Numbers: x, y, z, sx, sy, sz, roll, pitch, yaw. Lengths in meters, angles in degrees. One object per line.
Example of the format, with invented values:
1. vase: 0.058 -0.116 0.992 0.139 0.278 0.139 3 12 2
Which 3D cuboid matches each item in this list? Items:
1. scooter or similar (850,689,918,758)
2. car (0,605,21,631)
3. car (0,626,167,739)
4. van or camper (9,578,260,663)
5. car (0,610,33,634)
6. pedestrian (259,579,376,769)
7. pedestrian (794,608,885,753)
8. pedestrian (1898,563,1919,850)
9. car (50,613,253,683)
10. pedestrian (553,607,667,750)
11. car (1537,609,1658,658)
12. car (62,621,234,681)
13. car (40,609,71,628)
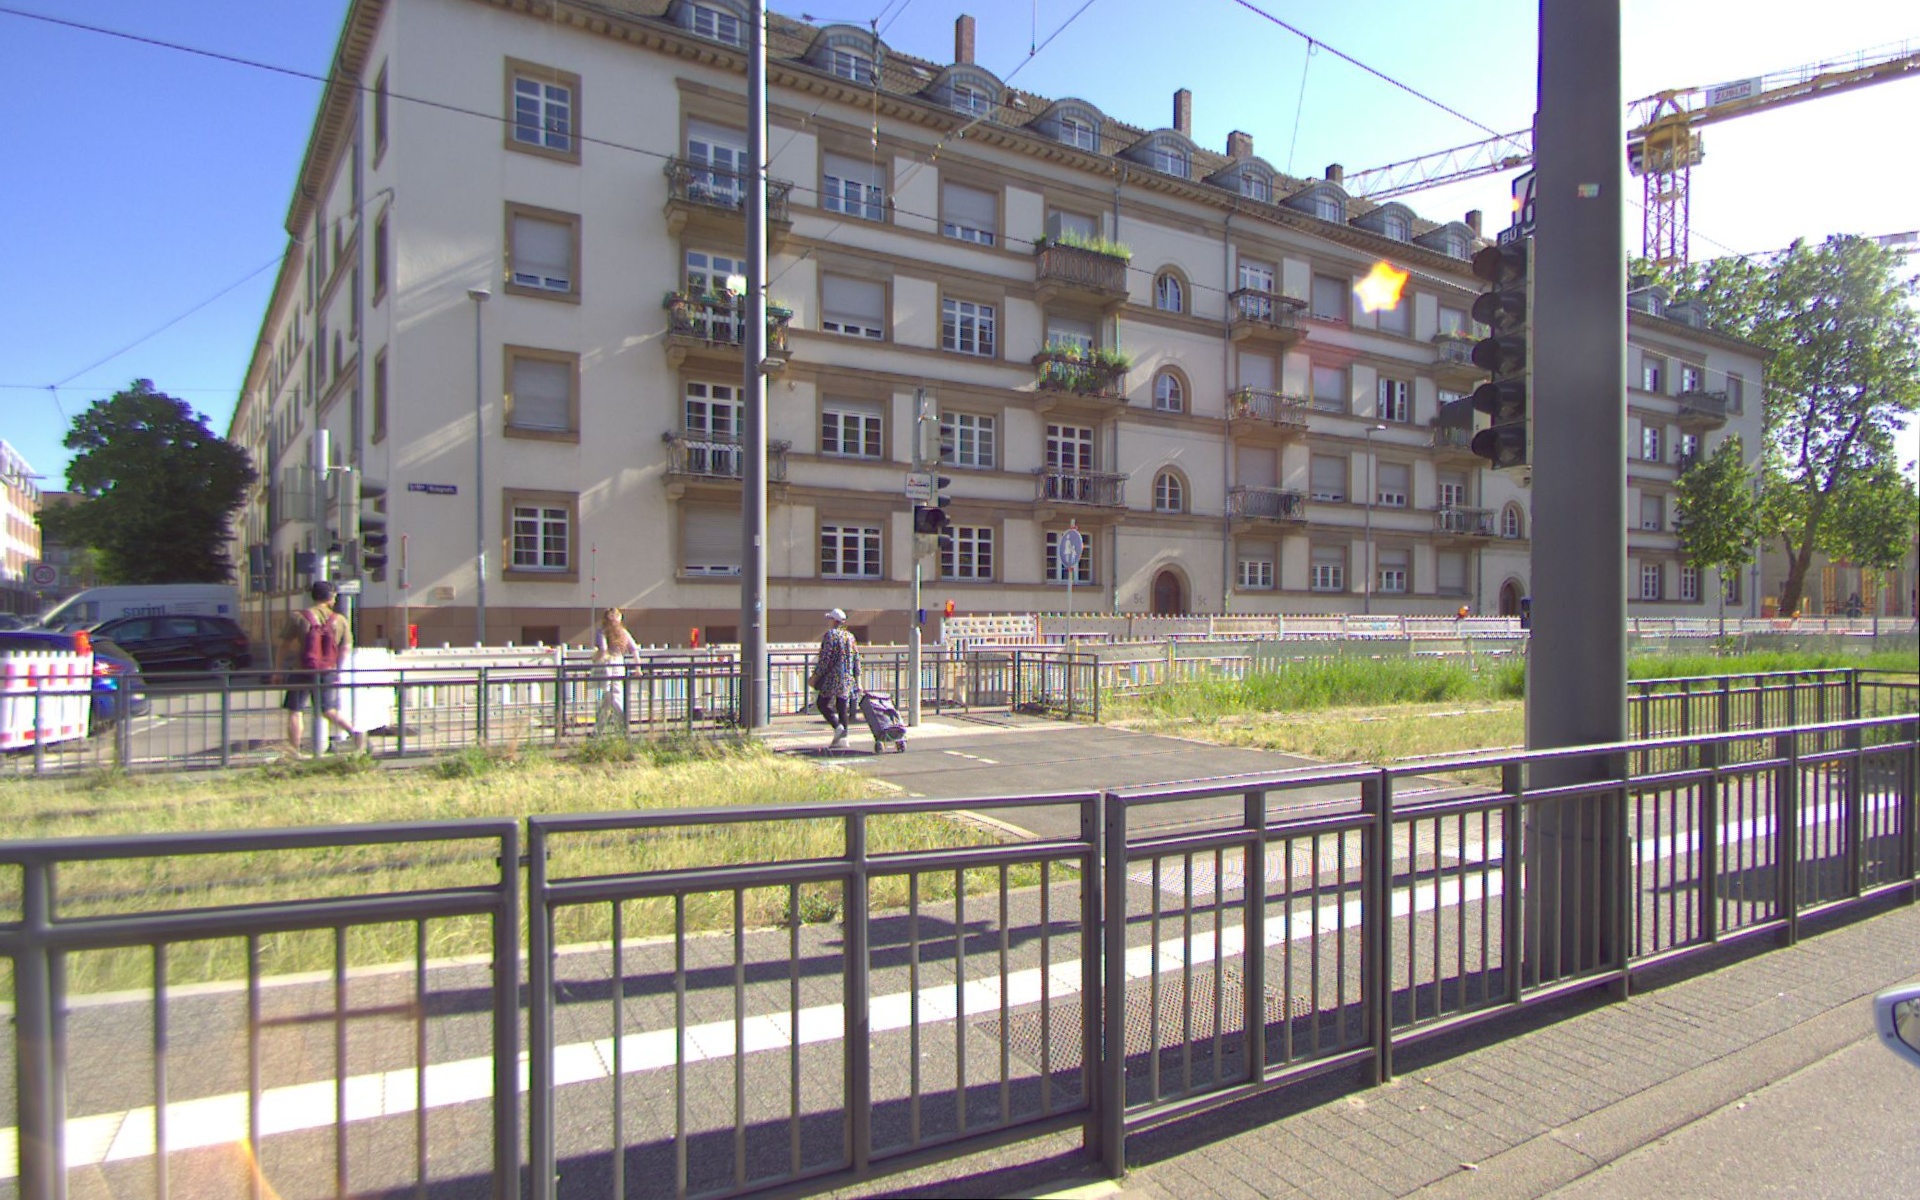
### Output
1. scooter or similar: -0.843 1.350 11.108 0.509 0.660 0.704 1 0 -28
2. car: -64.521 1.196 67.445 1.940 1.684 3.954 1 -1 -40
3. car: -12.633 1.055 12.905 3.610 1.394 1.567 1 -3 -31
4. van or camper: -25.709 0.656 31.546 5.911 2.433 1.976 1 -1 -42
5. car: -67.373 1.550 71.406 1.940 1.684 3.954 1 -1 -40
6. pedestrian: -6.497 0.708 10.157 0.901 1.804 0.858 1 0 -39
7. pedestrian: -1.384 0.886 11.472 0.788 1.557 0.809 1 0 -28
8. pedestrian: 6.636 0.680 6.345 0.961 1.812 0.859 1 0 -36
9. car: -19.149 1.084 23.946 3.642 1.542 1.672 1 -1 -39
10. pedestrian: -4.053 0.873 11.671 0.850 1.557 0.909 1 0 20
11. car: 21.263 1.093 33.488 3.953 1.536 1.808 1 -1 -30
12. car: -22.610 1.372 28.111 3.635 1.542 1.672 1 -1 -39
13. car: -83.470 1.716 92.702 1.940 1.684 3.954 1 -1 -40
